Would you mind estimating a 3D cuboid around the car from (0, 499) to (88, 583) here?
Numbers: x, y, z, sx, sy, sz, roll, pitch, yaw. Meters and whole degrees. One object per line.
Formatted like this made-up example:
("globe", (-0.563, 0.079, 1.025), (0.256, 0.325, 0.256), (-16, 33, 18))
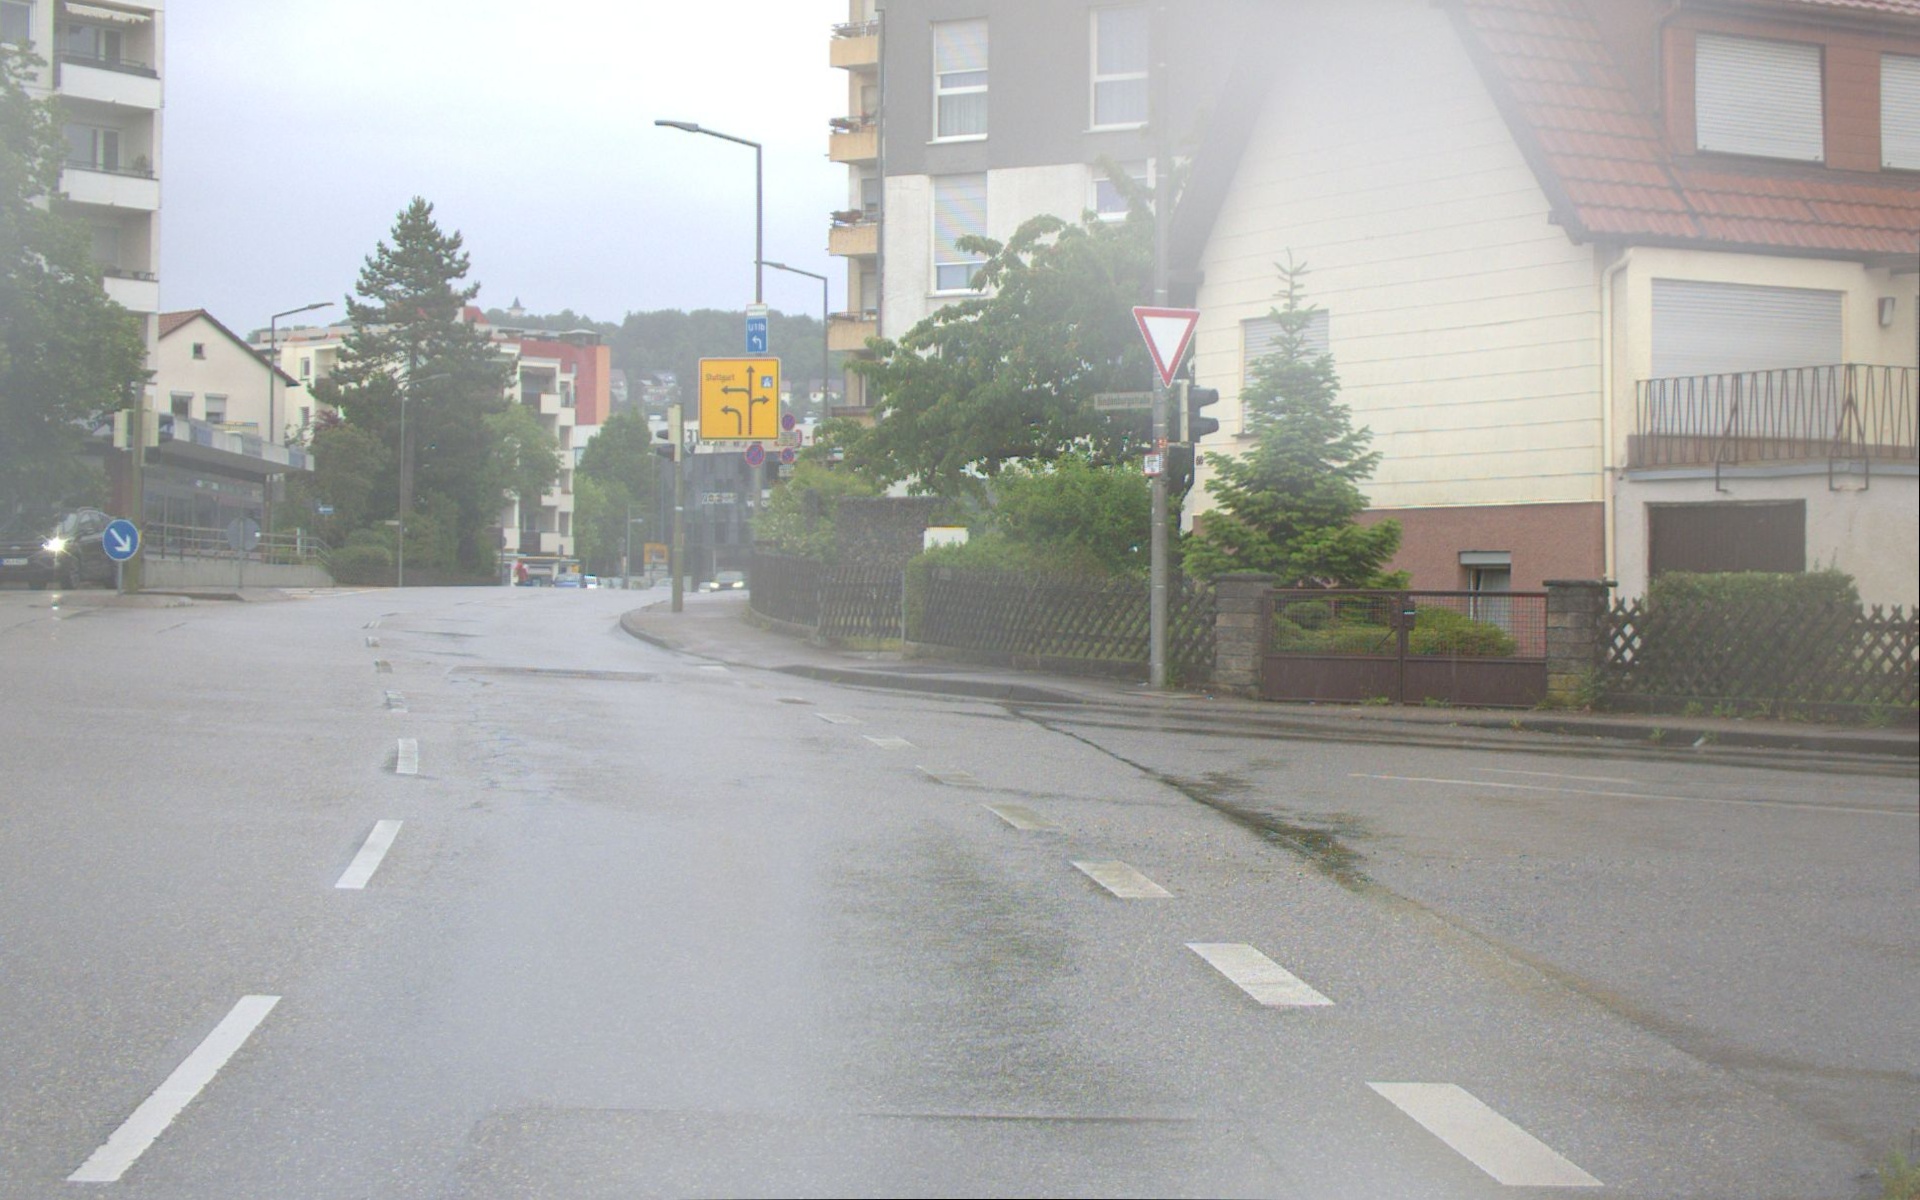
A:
("car", (-18.617, -1.156, 67.888), (1.879, 1.592, 4.185), (1, 1, -2))
